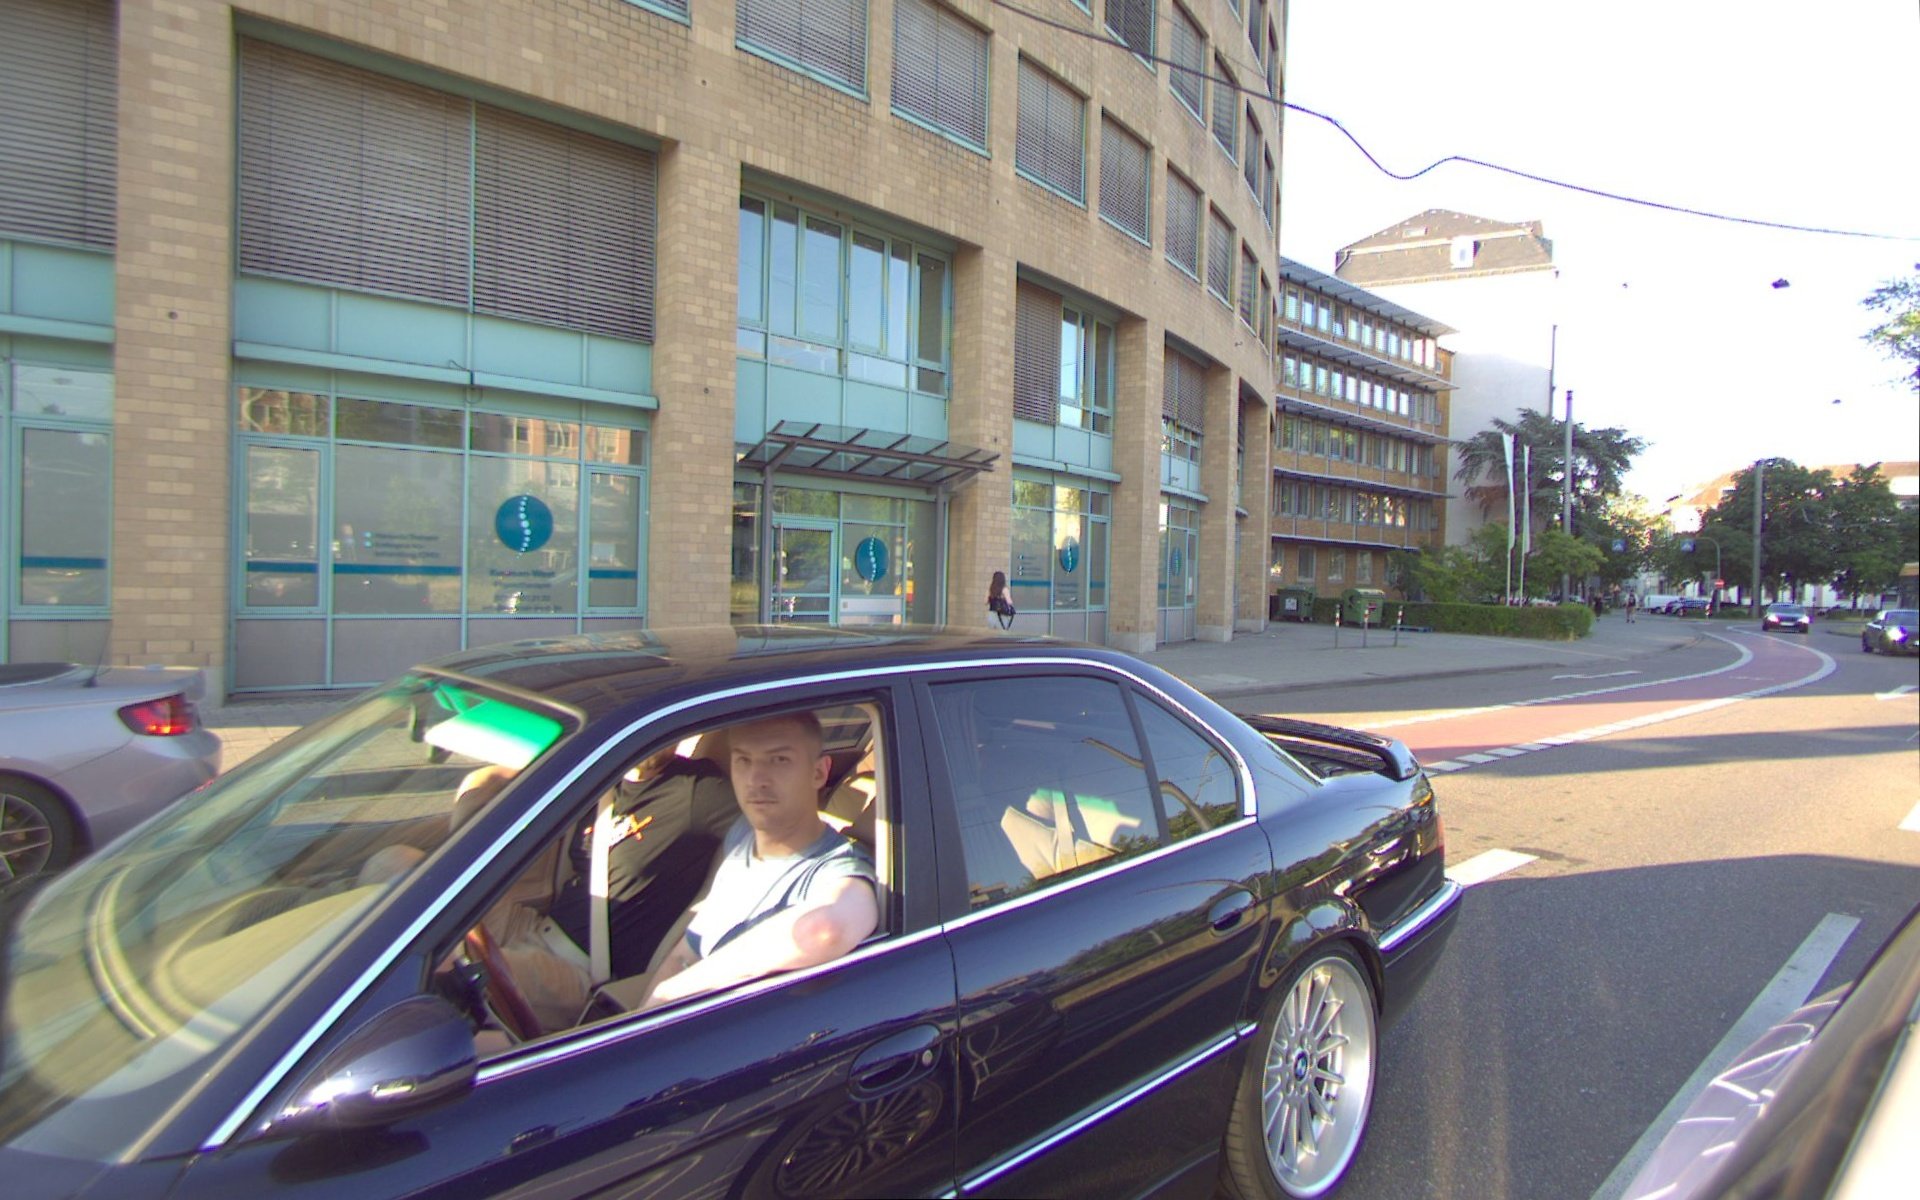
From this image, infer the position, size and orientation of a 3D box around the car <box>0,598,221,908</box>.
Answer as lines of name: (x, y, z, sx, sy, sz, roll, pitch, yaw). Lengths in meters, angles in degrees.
car: (-5.908, 0.700, 4.466, 4.153, 1.403, 1.746, 0, 0, -41)

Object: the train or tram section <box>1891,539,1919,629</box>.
train or tram section: (40.710, -0.608, 40.061, 2.890, 3.785, 12.065, 2, 1, 29)

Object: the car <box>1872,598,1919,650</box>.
car: (29.741, 0.712, 31.075, 1.987, 1.479, 4.093, 2, 2, 34)

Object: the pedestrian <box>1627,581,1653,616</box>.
pedestrian: (37.886, -0.079, 56.385, 0.899, 1.918, 1.120, 1, 1, 17)

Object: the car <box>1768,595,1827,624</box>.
car: (42.382, 0.465, 51.183, 3.932, 1.405, 1.756, 0, 0, -42)

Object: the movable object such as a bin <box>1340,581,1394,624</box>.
movable object such as a bin: (14.850, 0.074, 36.932, 1.311, 1.477, 1.424, 0, 1, -45)

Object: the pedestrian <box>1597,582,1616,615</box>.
pedestrian: (36.266, -0.108, 56.754, 0.711, 1.830, 0.728, 0, 1, -41)

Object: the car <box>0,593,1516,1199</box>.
car: (-0.712, 0.701, 2.323, 4.656, 1.402, 1.997, 0, 1, -41)

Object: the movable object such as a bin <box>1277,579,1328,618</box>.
movable object such as a bin: (13.354, -0.079, 39.499, 1.310, 1.477, 1.425, 0, 1, -43)

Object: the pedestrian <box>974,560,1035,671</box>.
pedestrian: (0.696, 0.225, 15.919, 0.702, 1.702, 0.626, 0, 1, -44)
